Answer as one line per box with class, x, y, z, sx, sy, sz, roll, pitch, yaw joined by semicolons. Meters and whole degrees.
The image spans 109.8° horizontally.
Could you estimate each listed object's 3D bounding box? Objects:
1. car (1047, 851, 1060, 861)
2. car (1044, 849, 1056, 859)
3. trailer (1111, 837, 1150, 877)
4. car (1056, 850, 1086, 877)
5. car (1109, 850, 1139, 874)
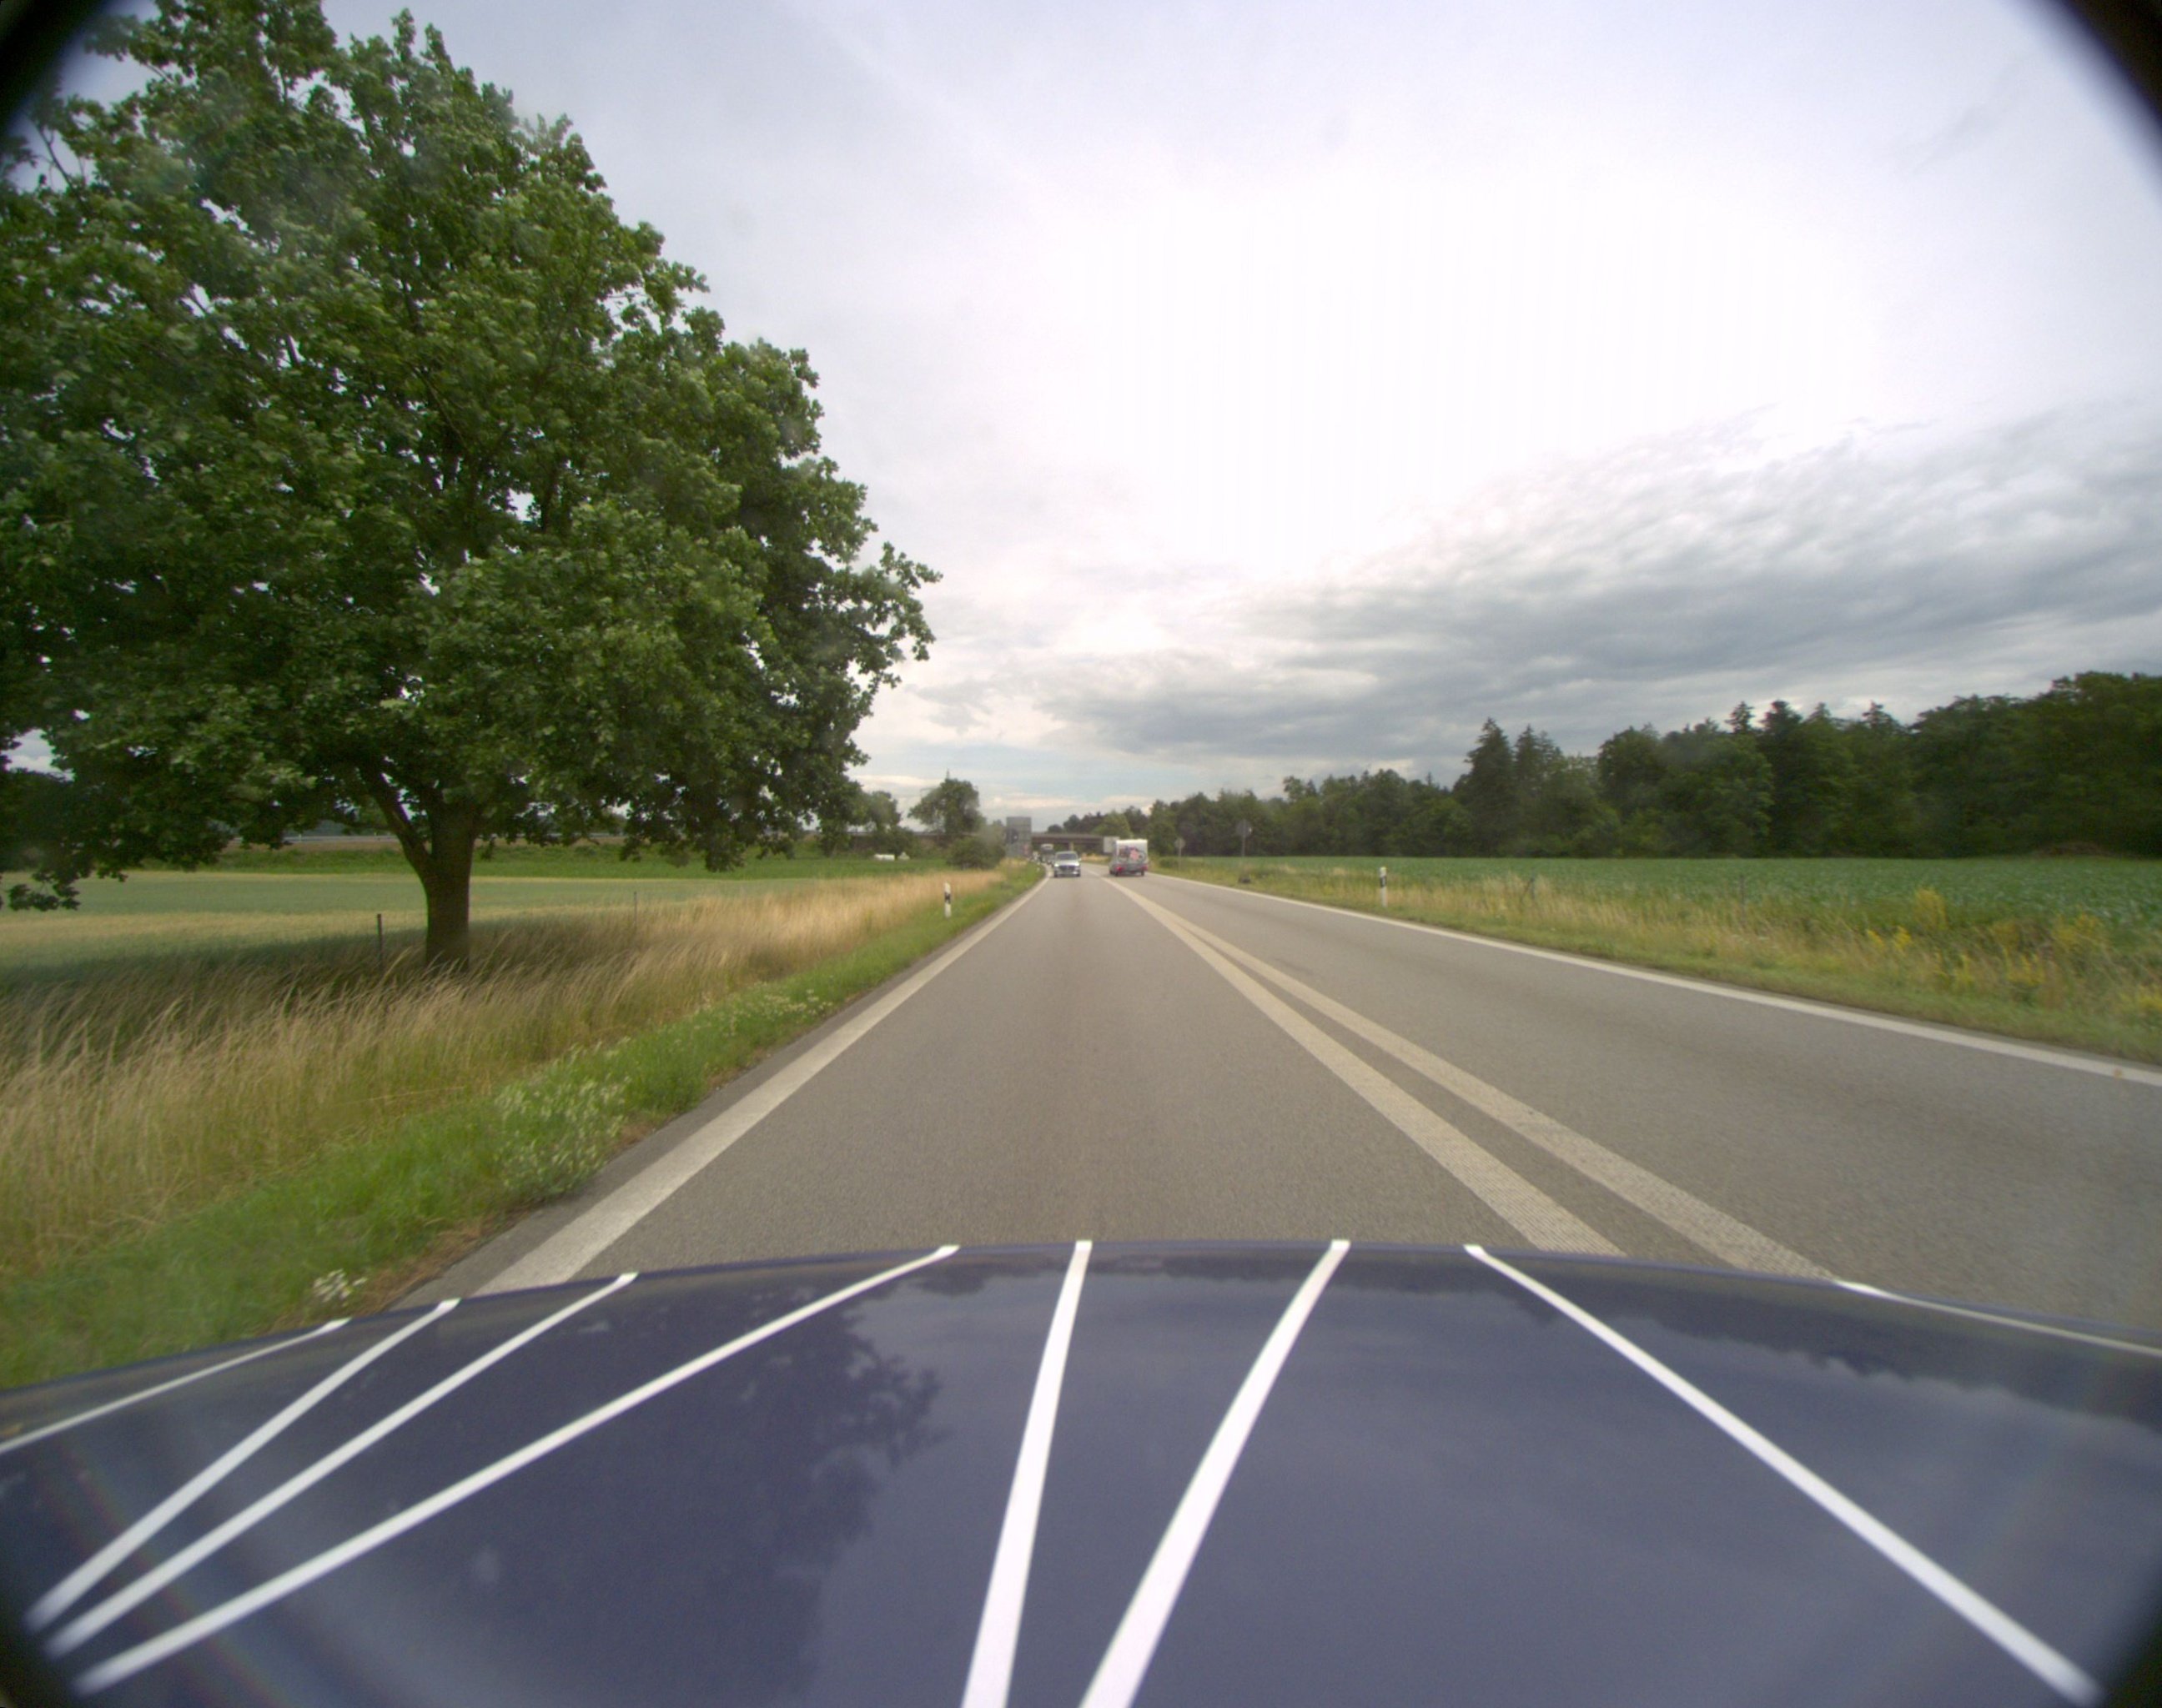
car;-4.627;0.326;129.382;1.862;1.679;4.112;-3;1;1
car;-6.780;0.019;167.483;1.998;2.002;4.001;-3;1;5
trailer;3.404;0.177;53.620;2.187;2.560;6.242;-3;1;-1
car;-0.785;0.631;55.914;1.924;1.823;3.998;-3;1;-4
car;3.299;0.576;58.928;2.011;1.648;4.326;-3;1;-1
